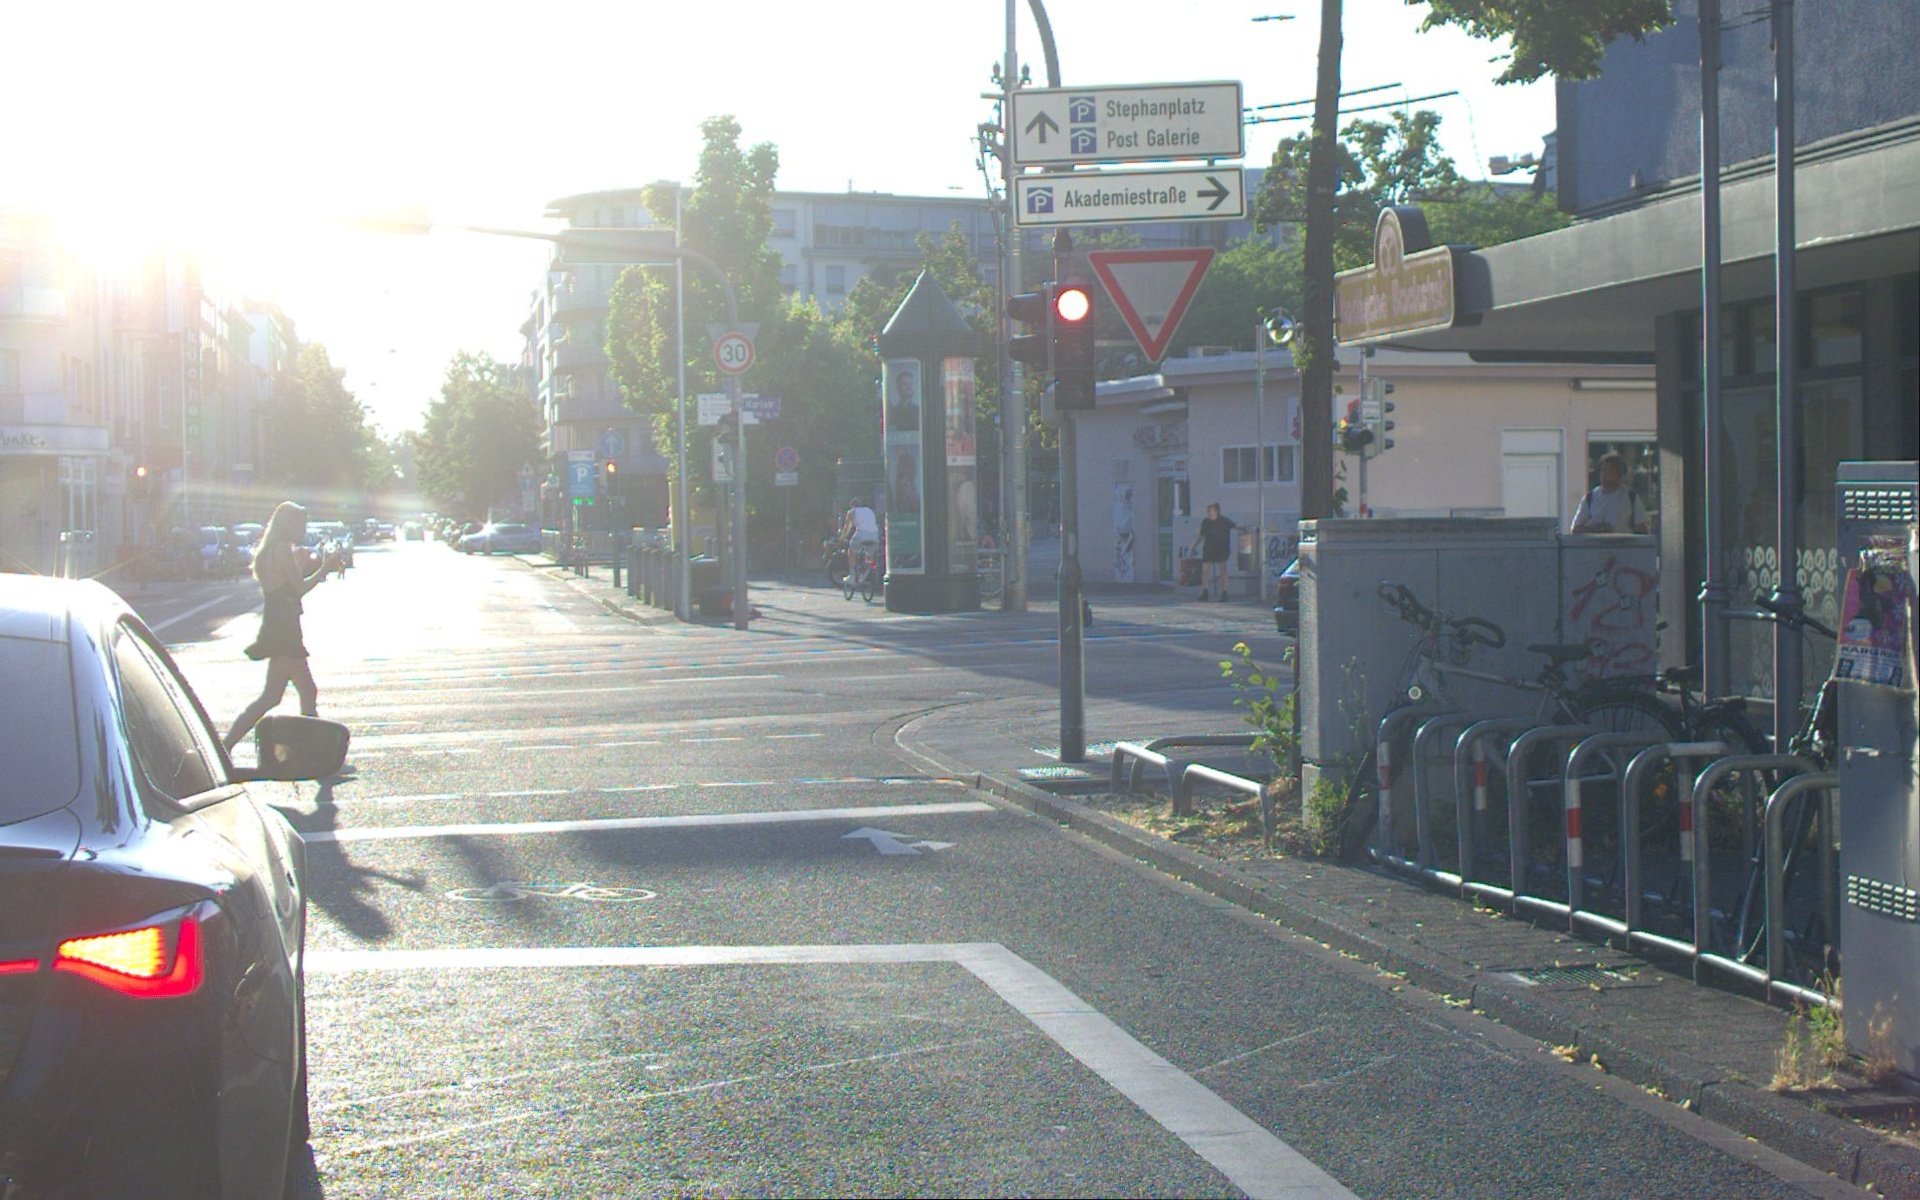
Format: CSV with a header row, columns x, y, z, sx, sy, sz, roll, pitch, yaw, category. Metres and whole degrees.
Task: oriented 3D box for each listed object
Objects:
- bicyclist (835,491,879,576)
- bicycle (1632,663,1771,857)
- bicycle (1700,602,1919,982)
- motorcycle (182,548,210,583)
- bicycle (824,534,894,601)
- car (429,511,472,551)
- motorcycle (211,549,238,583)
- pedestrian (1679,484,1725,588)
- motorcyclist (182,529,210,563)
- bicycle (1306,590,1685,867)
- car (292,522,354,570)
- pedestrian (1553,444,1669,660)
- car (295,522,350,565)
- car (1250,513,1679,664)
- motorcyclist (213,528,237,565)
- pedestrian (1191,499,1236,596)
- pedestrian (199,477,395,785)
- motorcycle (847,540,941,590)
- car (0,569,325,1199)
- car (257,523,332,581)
x,y,z,sx,sy,sz,roll,pitch,yaw,category
-1.815,-1.165,60.548,0.550,1.476,0.723,0,0,-21,bicyclist
3.312,0.702,15.412,0.249,0.793,1.116,1,1,-7,bicycle
3.210,0.626,11.333,1.440,1.216,0.383,1,1,-7,bicycle
-20.925,-0.946,94.136,0.575,0.912,2.201,1,1,-8,motorcycle
-1.788,-0.567,60.482,0.550,1.155,2.145,0,1,-21,bicycle
-24.211,-3.287,163.447,1.771,1.842,4.001,-1,2,-6,car
-20.056,-0.927,93.751,0.575,0.912,2.201,1,1,-8,motorcycle
12.360,-1.069,57.277,0.478,1.729,0.531,0,1,-33,pedestrian
-20.913,-1.476,94.149,0.575,0.912,2.201,1,1,-8,motorcyclist
2.358,0.557,15.159,1.612,1.167,0.318,-1,1,-6,bicycle
-20.925,-1.782,112.995,1.817,1.514,4.001,-1,2,-8,car
5.629,-0.419,29.704,0.836,1.835,0.678,-1,1,22,pedestrian
-23.550,-2.103,127.116,1.817,1.514,4.001,-1,2,-8,car
5.372,-0.163,36.421,4.406,1.468,1.818,-2,2,-33,car
-20.023,-1.454,93.644,0.575,0.992,0.703,1,1,-8,motorcyclist
4.009,-0.837,54.422,0.471,1.524,0.734,1,1,23,pedestrian
-4.142,0.177,21.483,1.001,1.854,0.640,-2,2,-28,pedestrian
-1.304,-0.697,67.868,1.668,0.935,0.856,-1,2,-19,motorcycle
-2.115,0.672,6.492,1.736,1.424,4.225,0,1,-10,car
-18.304,-1.331,94.619,1.817,1.514,4.001,-1,2,-8,car
